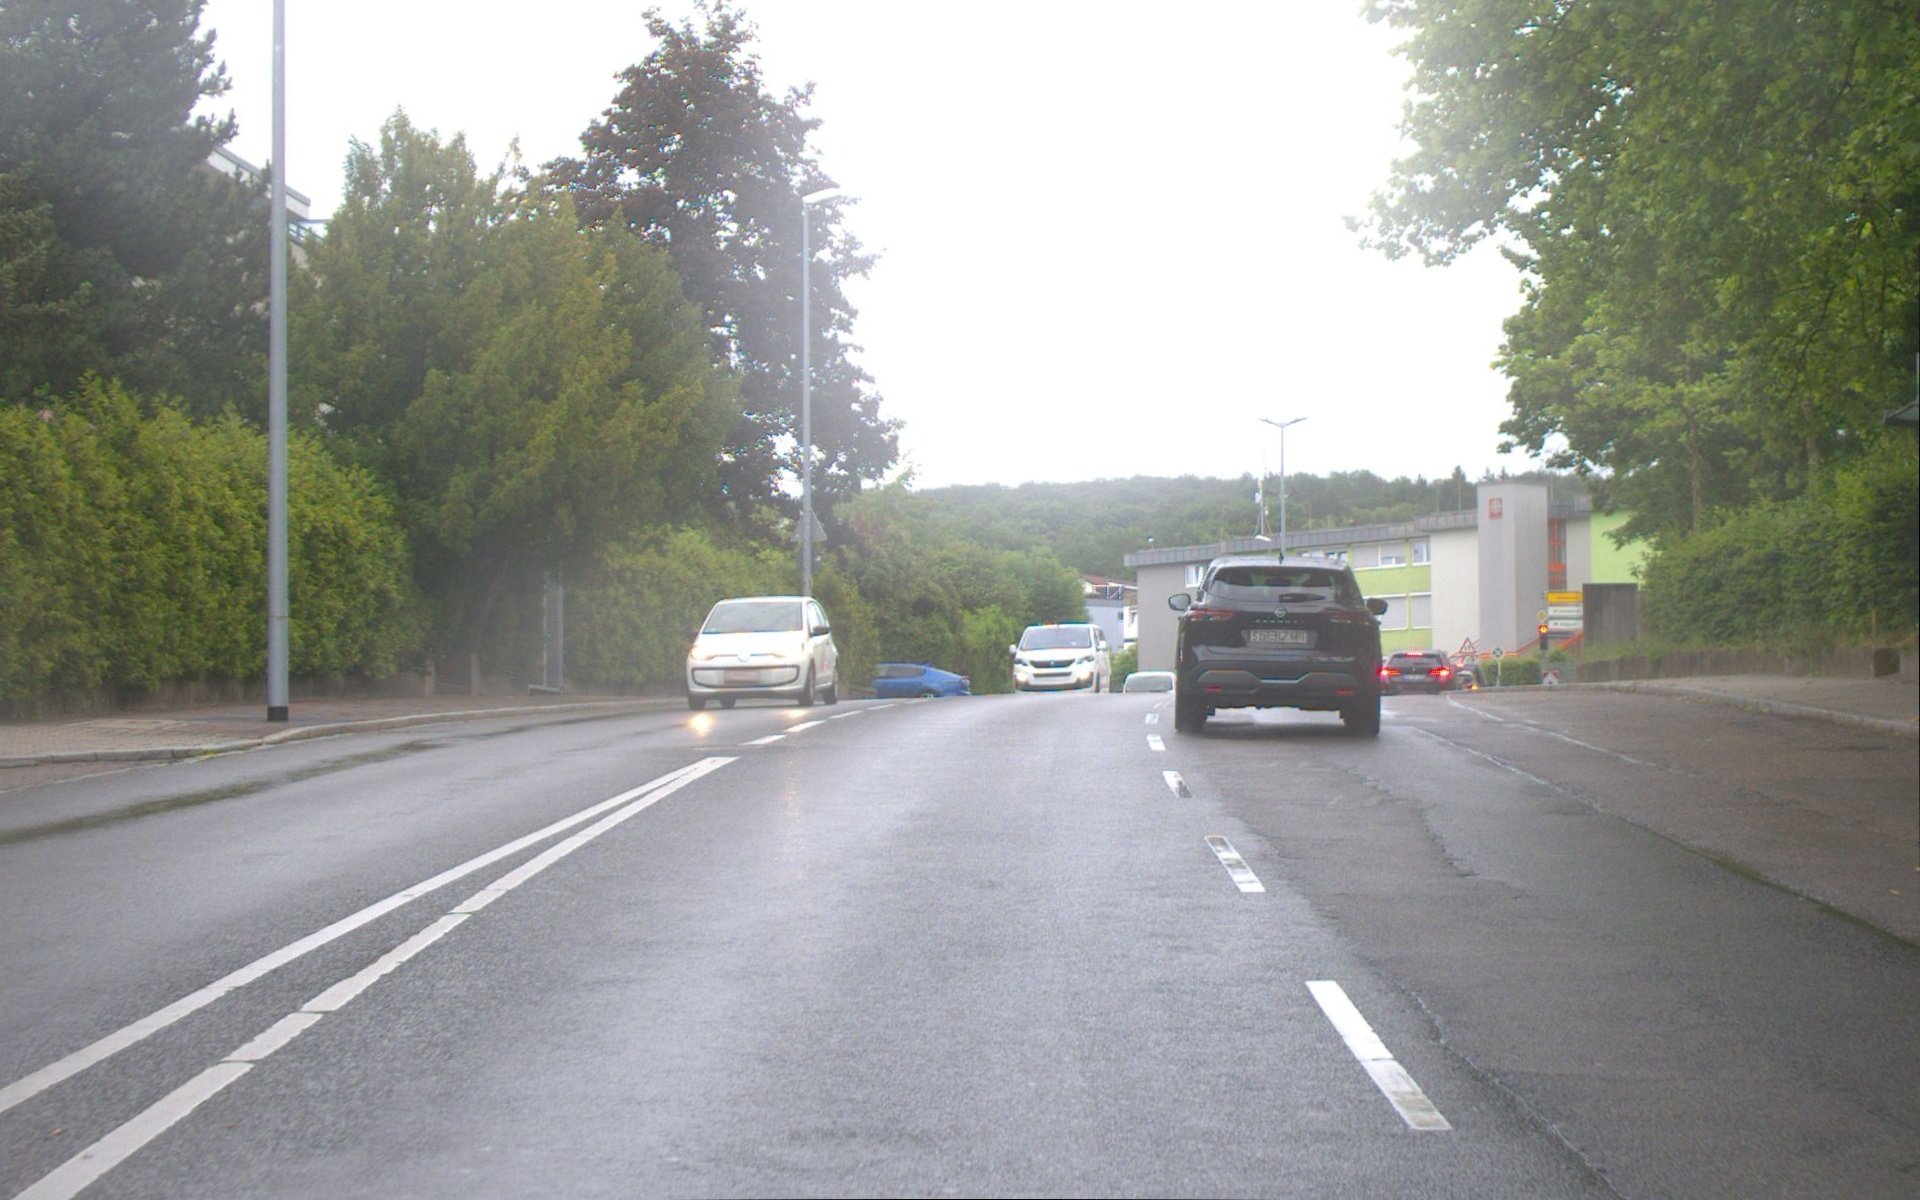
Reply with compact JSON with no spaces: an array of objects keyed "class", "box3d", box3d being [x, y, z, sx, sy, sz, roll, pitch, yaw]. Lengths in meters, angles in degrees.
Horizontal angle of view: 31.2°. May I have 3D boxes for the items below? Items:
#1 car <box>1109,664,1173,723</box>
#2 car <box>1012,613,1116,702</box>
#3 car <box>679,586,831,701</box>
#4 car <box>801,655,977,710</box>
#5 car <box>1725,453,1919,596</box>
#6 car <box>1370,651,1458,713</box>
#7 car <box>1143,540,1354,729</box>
[{"class":"car","box3d":[5.585,2.906,105.789,1.701,1.702,3.977,3,-2,6]},{"class":"car","box3d":[2.398,1.290,78.333,1.864,1.910,5.028,-2,-1,7]},{"class":"car","box3d":[-2.673,0.548,45.392,1.685,1.449,3.398,0,0,2]},{"class":"car","box3d":[-1.875,2.203,91.688,4.483,1.357,1.805,1,-1,5]},{"class":"car","box3d":[13.936,-1.230,55.804,1.993,2.219,4.134,1,1,-1]},{"class":"car","box3d":[11.083,1.992,84.082,1.994,1.437,3.999,1,-1,6]},{"class":"car","box3d":[2.624,0.258,31.862,1.790,1.598,4.253,1,1,4]}]
